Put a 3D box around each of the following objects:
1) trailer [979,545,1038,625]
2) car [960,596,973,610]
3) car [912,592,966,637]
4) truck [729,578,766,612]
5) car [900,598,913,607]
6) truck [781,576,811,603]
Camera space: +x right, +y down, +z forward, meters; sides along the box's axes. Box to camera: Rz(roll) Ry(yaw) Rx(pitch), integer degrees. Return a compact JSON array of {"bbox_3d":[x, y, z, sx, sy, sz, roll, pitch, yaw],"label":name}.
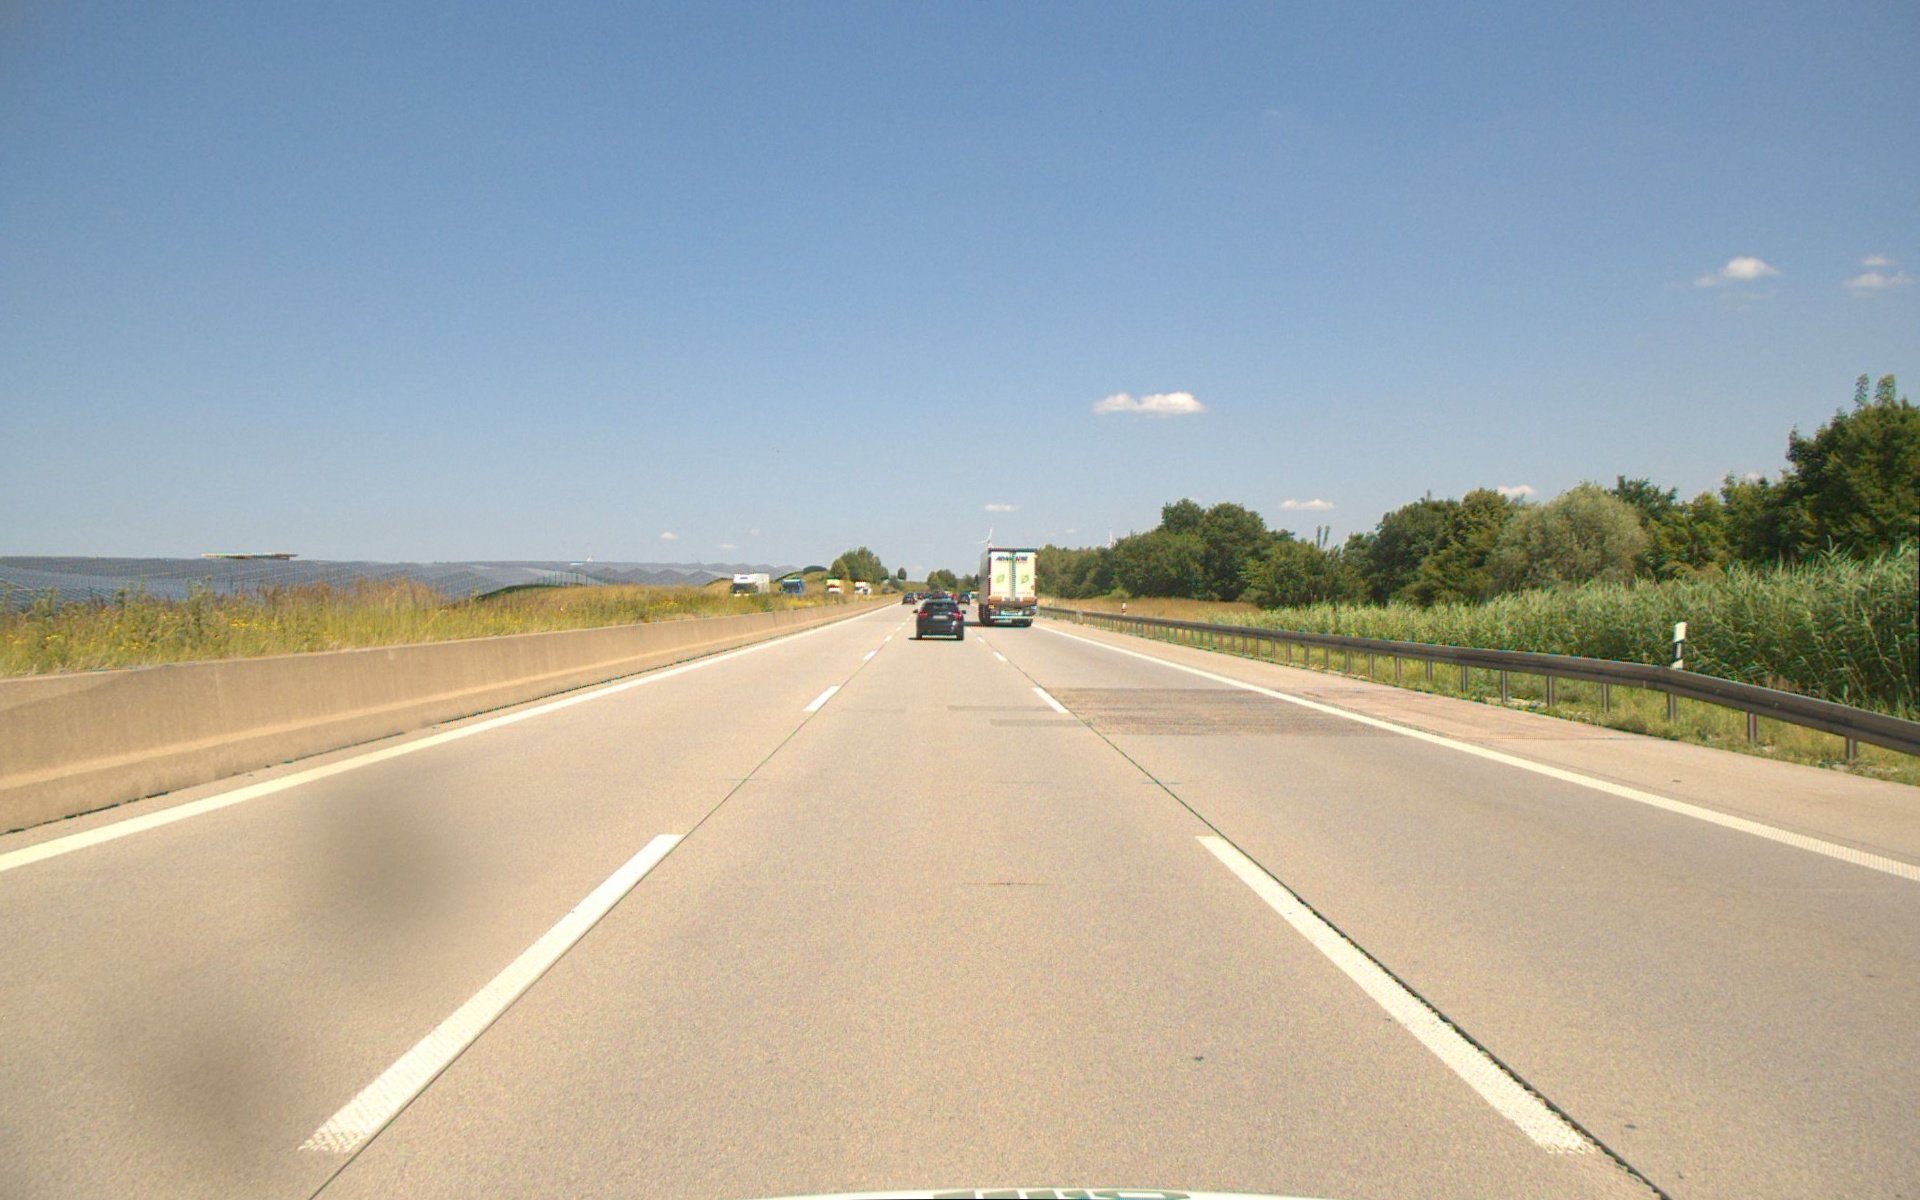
[{"bbox_3d":[2.598,-0.785,92.104,2.794,4.113,12.712,1,0,0],"label":"trailer"},{"bbox_3d":[0.874,0.429,236.160,1.790,1.940,3.999,1,0,0],"label":"car"},{"bbox_3d":[-0.781,0.502,60.638,1.872,1.518,4.190,2,0,-2],"label":"car"},{"bbox_3d":[-22.933,-0.482,178.770,3.059,3.548,6.883,1,-1,-1],"label":"truck"},{"bbox_3d":[-7.420,0.322,228.918,1.622,1.217,3.959,4,0,-1],"label":"car"},{"bbox_3d":[-20.117,-1.230,202.896,2.767,3.117,10.372,1,0,-1],"label":"truck"}]
